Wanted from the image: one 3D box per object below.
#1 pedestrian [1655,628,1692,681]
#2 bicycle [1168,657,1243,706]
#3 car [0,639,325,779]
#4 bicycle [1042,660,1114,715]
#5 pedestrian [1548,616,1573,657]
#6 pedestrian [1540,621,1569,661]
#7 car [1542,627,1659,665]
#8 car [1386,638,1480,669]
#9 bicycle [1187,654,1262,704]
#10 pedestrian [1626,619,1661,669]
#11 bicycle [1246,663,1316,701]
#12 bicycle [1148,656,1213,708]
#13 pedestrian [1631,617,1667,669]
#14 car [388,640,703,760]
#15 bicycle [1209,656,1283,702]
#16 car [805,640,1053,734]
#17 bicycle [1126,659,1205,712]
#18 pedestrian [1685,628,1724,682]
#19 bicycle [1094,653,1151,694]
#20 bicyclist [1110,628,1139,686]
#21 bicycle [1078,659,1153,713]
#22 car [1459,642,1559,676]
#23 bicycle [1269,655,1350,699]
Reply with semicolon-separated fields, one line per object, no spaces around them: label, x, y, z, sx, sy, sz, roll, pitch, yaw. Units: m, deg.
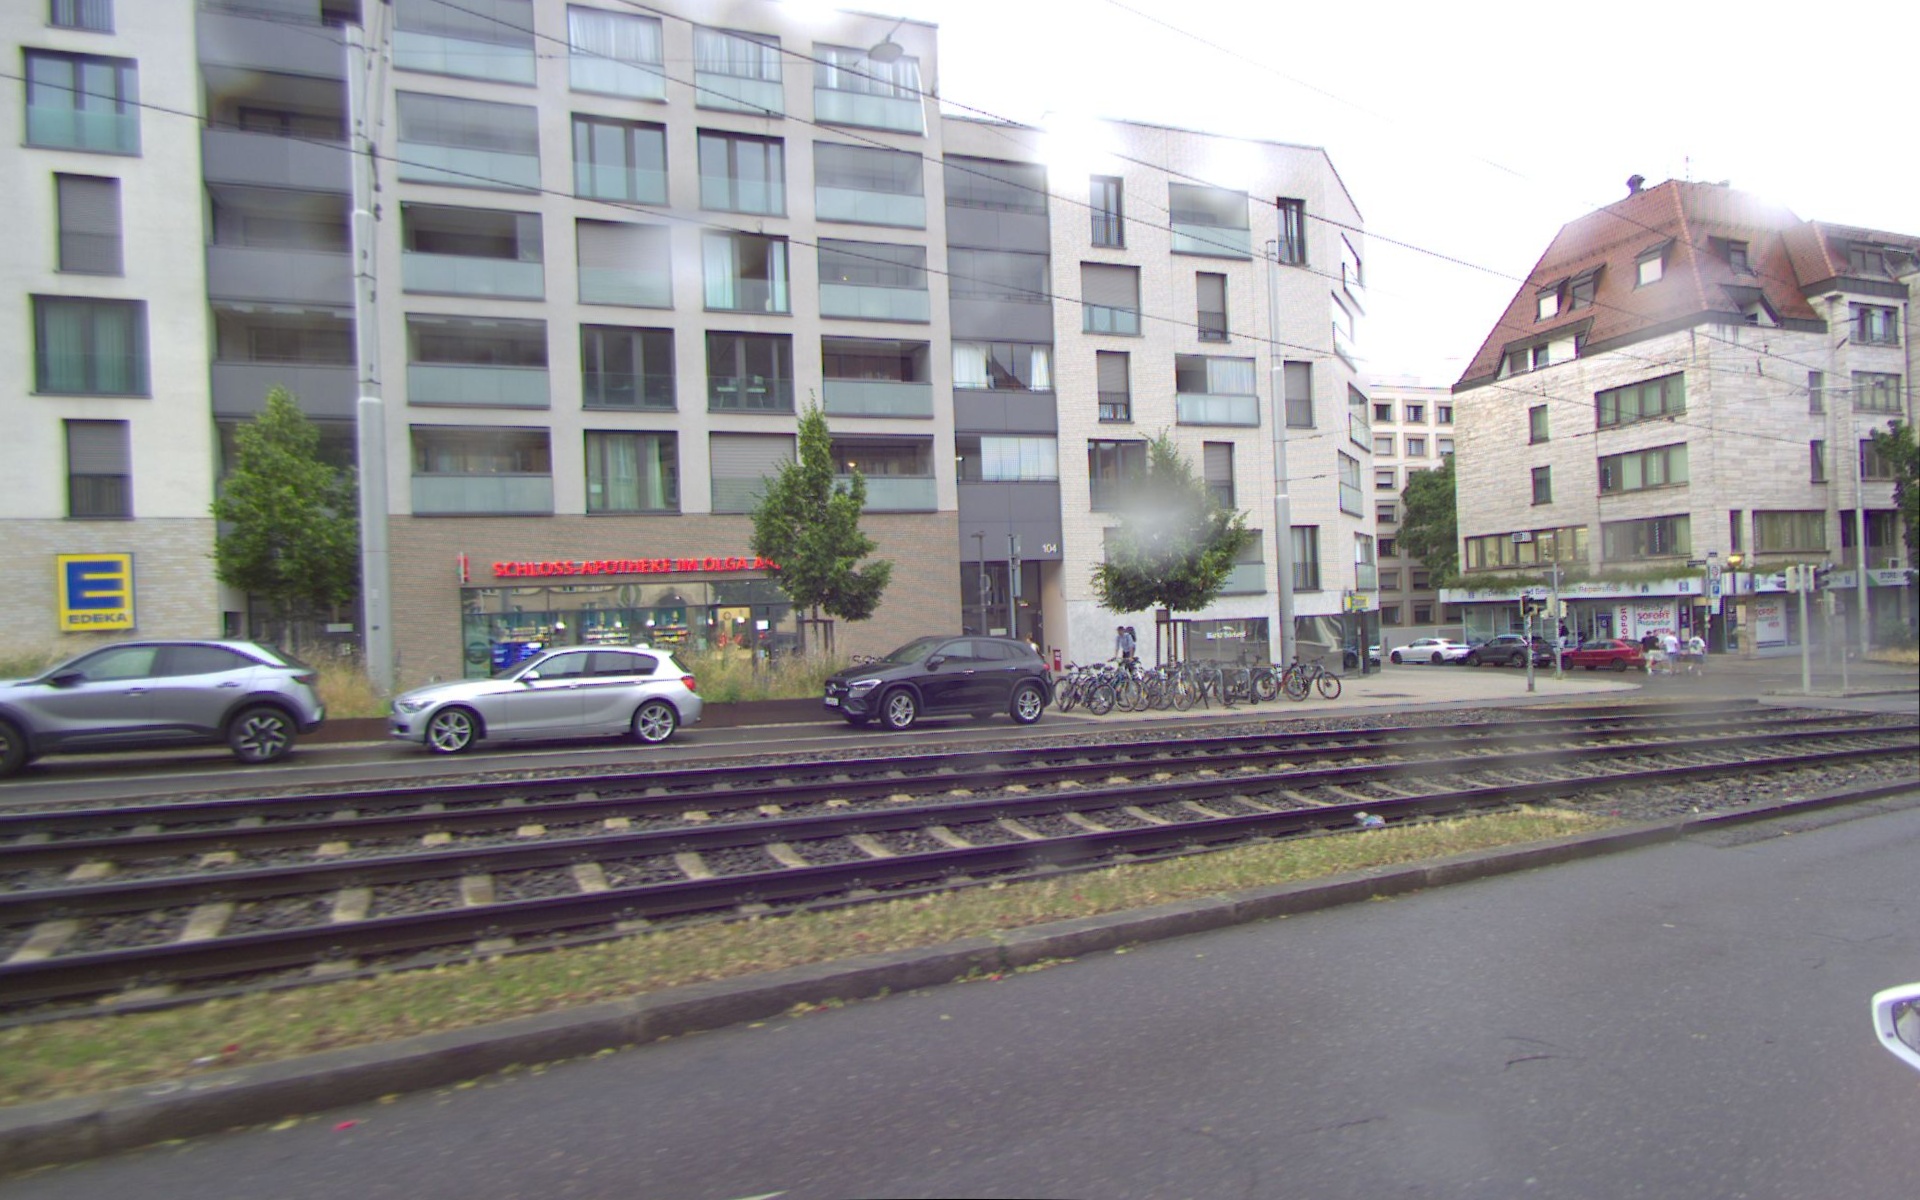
pedestrian;27.913;2.126;39.295;0.757;2.040;0.936;1;-2;-33
bicycle;5.817;1.913;23.857;0.454;1.078;1.779;1;-2;-43
car;-10.166;1.258;12.417;3.880;1.523;1.762;2;-2;-34
bicycle;2.522;1.858;21.638;0.453;1.078;1.784;1;-2;-36
pedestrian;30.107;1.847;50.338;0.693;2.040;0.793;1;-2;-22
pedestrian;30.539;2.108;51.612;0.815;1.956;0.901;-1;-3;-29
car;28.283;2.030;44.508;1.796;1.589;4.128;0;-2;-20
car;25.137;2.829;53.550;1.879;1.589;4.454;0;-2;-20
bicycle;6.438;1.910;24.497;1.776;1.123;0.453;-1;-2;41
pedestrian;28.335;1.830;41.654;0.757;2.040;0.936;1;-2;-33
bicycle;8.133;2.057;25.494;0.564;0.877;1.636;1;-2;-39
bicycle;5.053;1.870;23.151;0.479;1.086;1.763;1;-1;-26
pedestrian;27.846;1.739;40.608;0.757;2.040;0.936;1;-2;-33
car;-6.057;1.365;14.813;4.041;1.523;1.762;2;-2;-34
bicycle;7.241;1.975;25.476;0.565;1.078;1.781;1;-2;-41
car;-0.519;1.508;18.418;4.192;1.523;1.901;2;-2;-33
bicycle;4.521;1.861;22.211;0.454;1.078;1.779;1;-2;-43
pedestrian;28.491;2.087;38.468;0.756;2.040;0.937;1;-2;-30
bicycle;4.560;2.036;28.097;1.785;1.078;0.453;1;-1;-37
bicyclist;4.612;1.583;28.139;0.695;1.594;0.458;1;-2;-36
bicycle;3.384;1.863;22.030;0.454;1.078;1.782;1;-2;-40
car;26.806;2.837;49.154;1.796;1.589;4.128;0;-2;-20
bicycle;9.058;1.988;26.110;0.715;1.041;1.934;1;-2;-38
